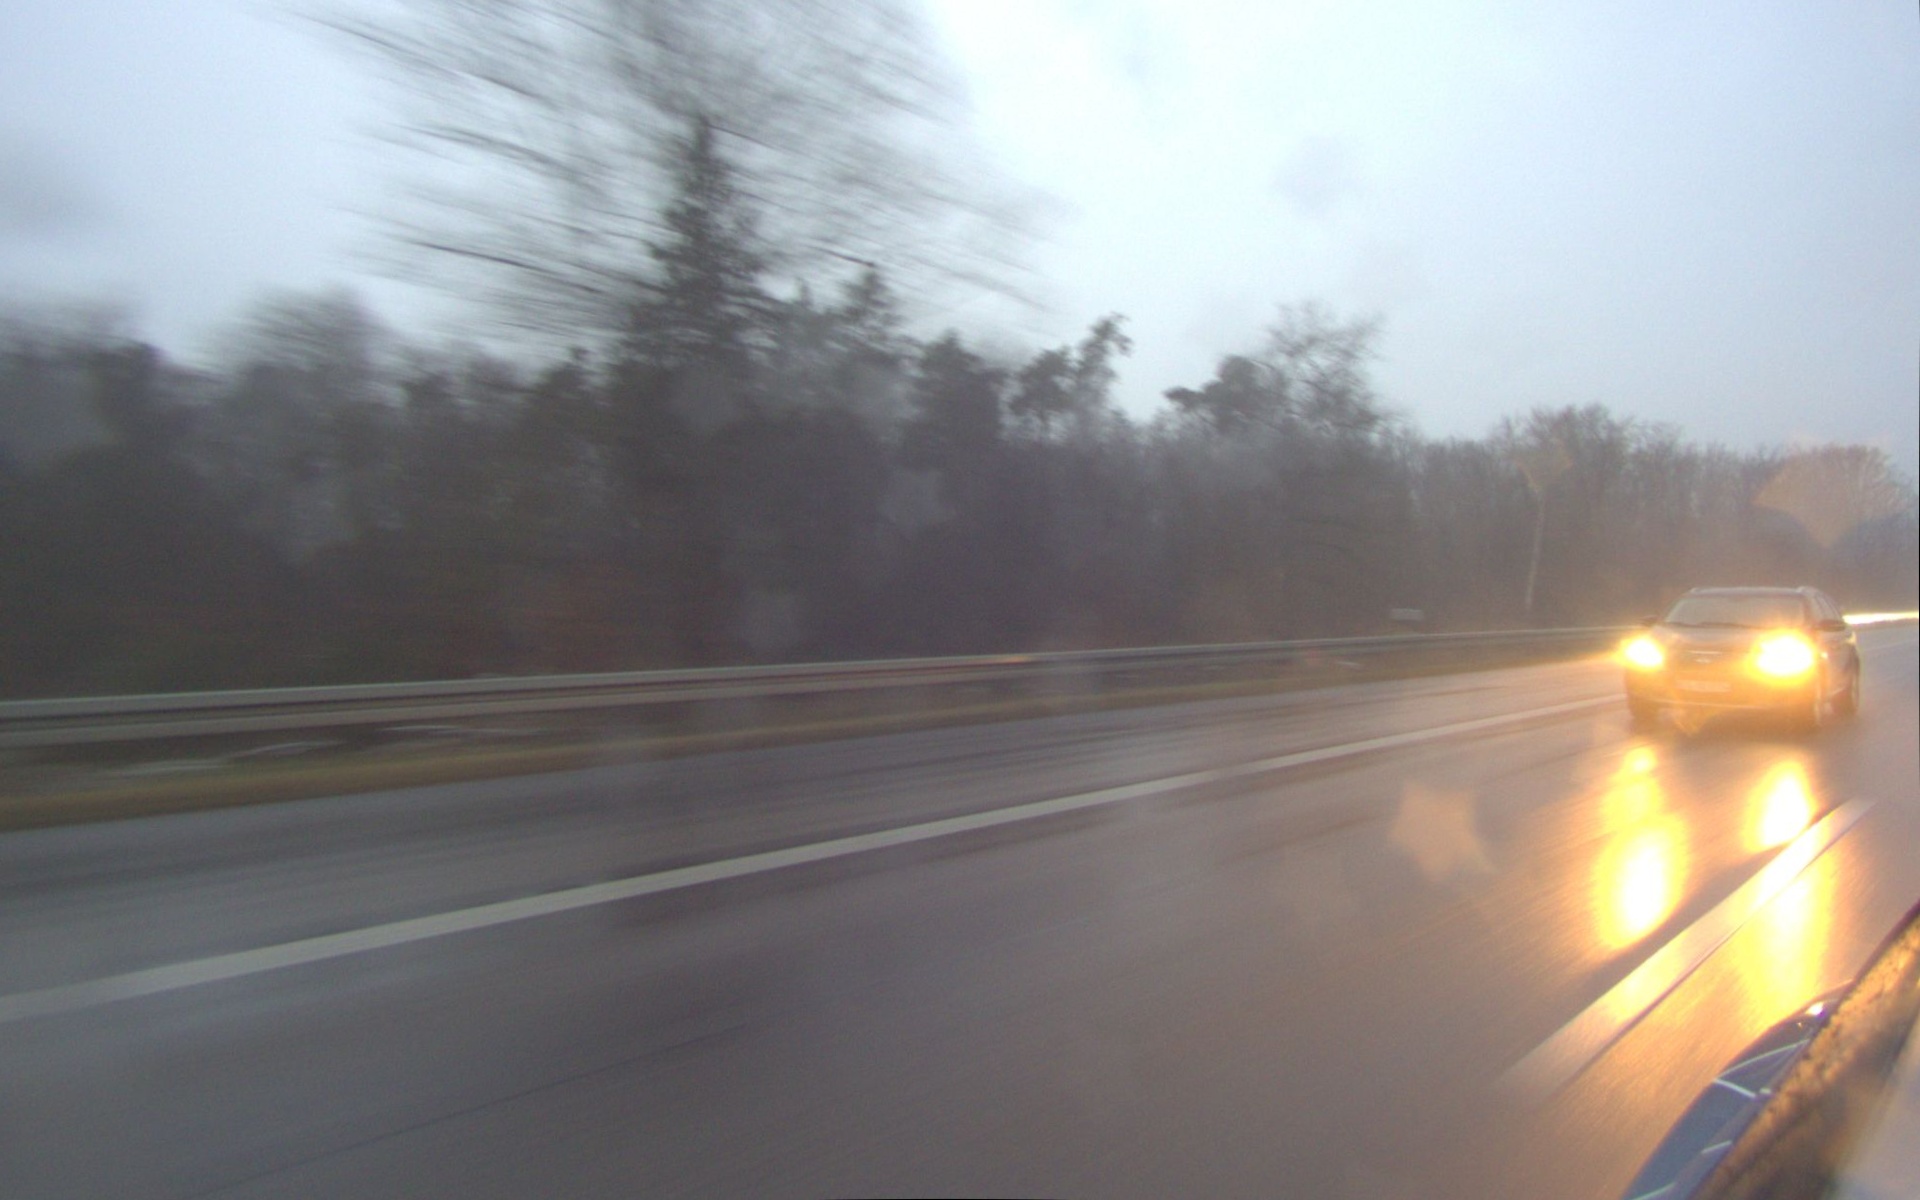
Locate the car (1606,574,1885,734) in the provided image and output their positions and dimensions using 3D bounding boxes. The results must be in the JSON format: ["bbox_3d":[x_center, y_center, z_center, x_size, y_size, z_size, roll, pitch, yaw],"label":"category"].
[{"bbox_3d":[10.269,0.563,13.112,4.383,1.719,2.074,0,0,-41],"label":"car"}]
